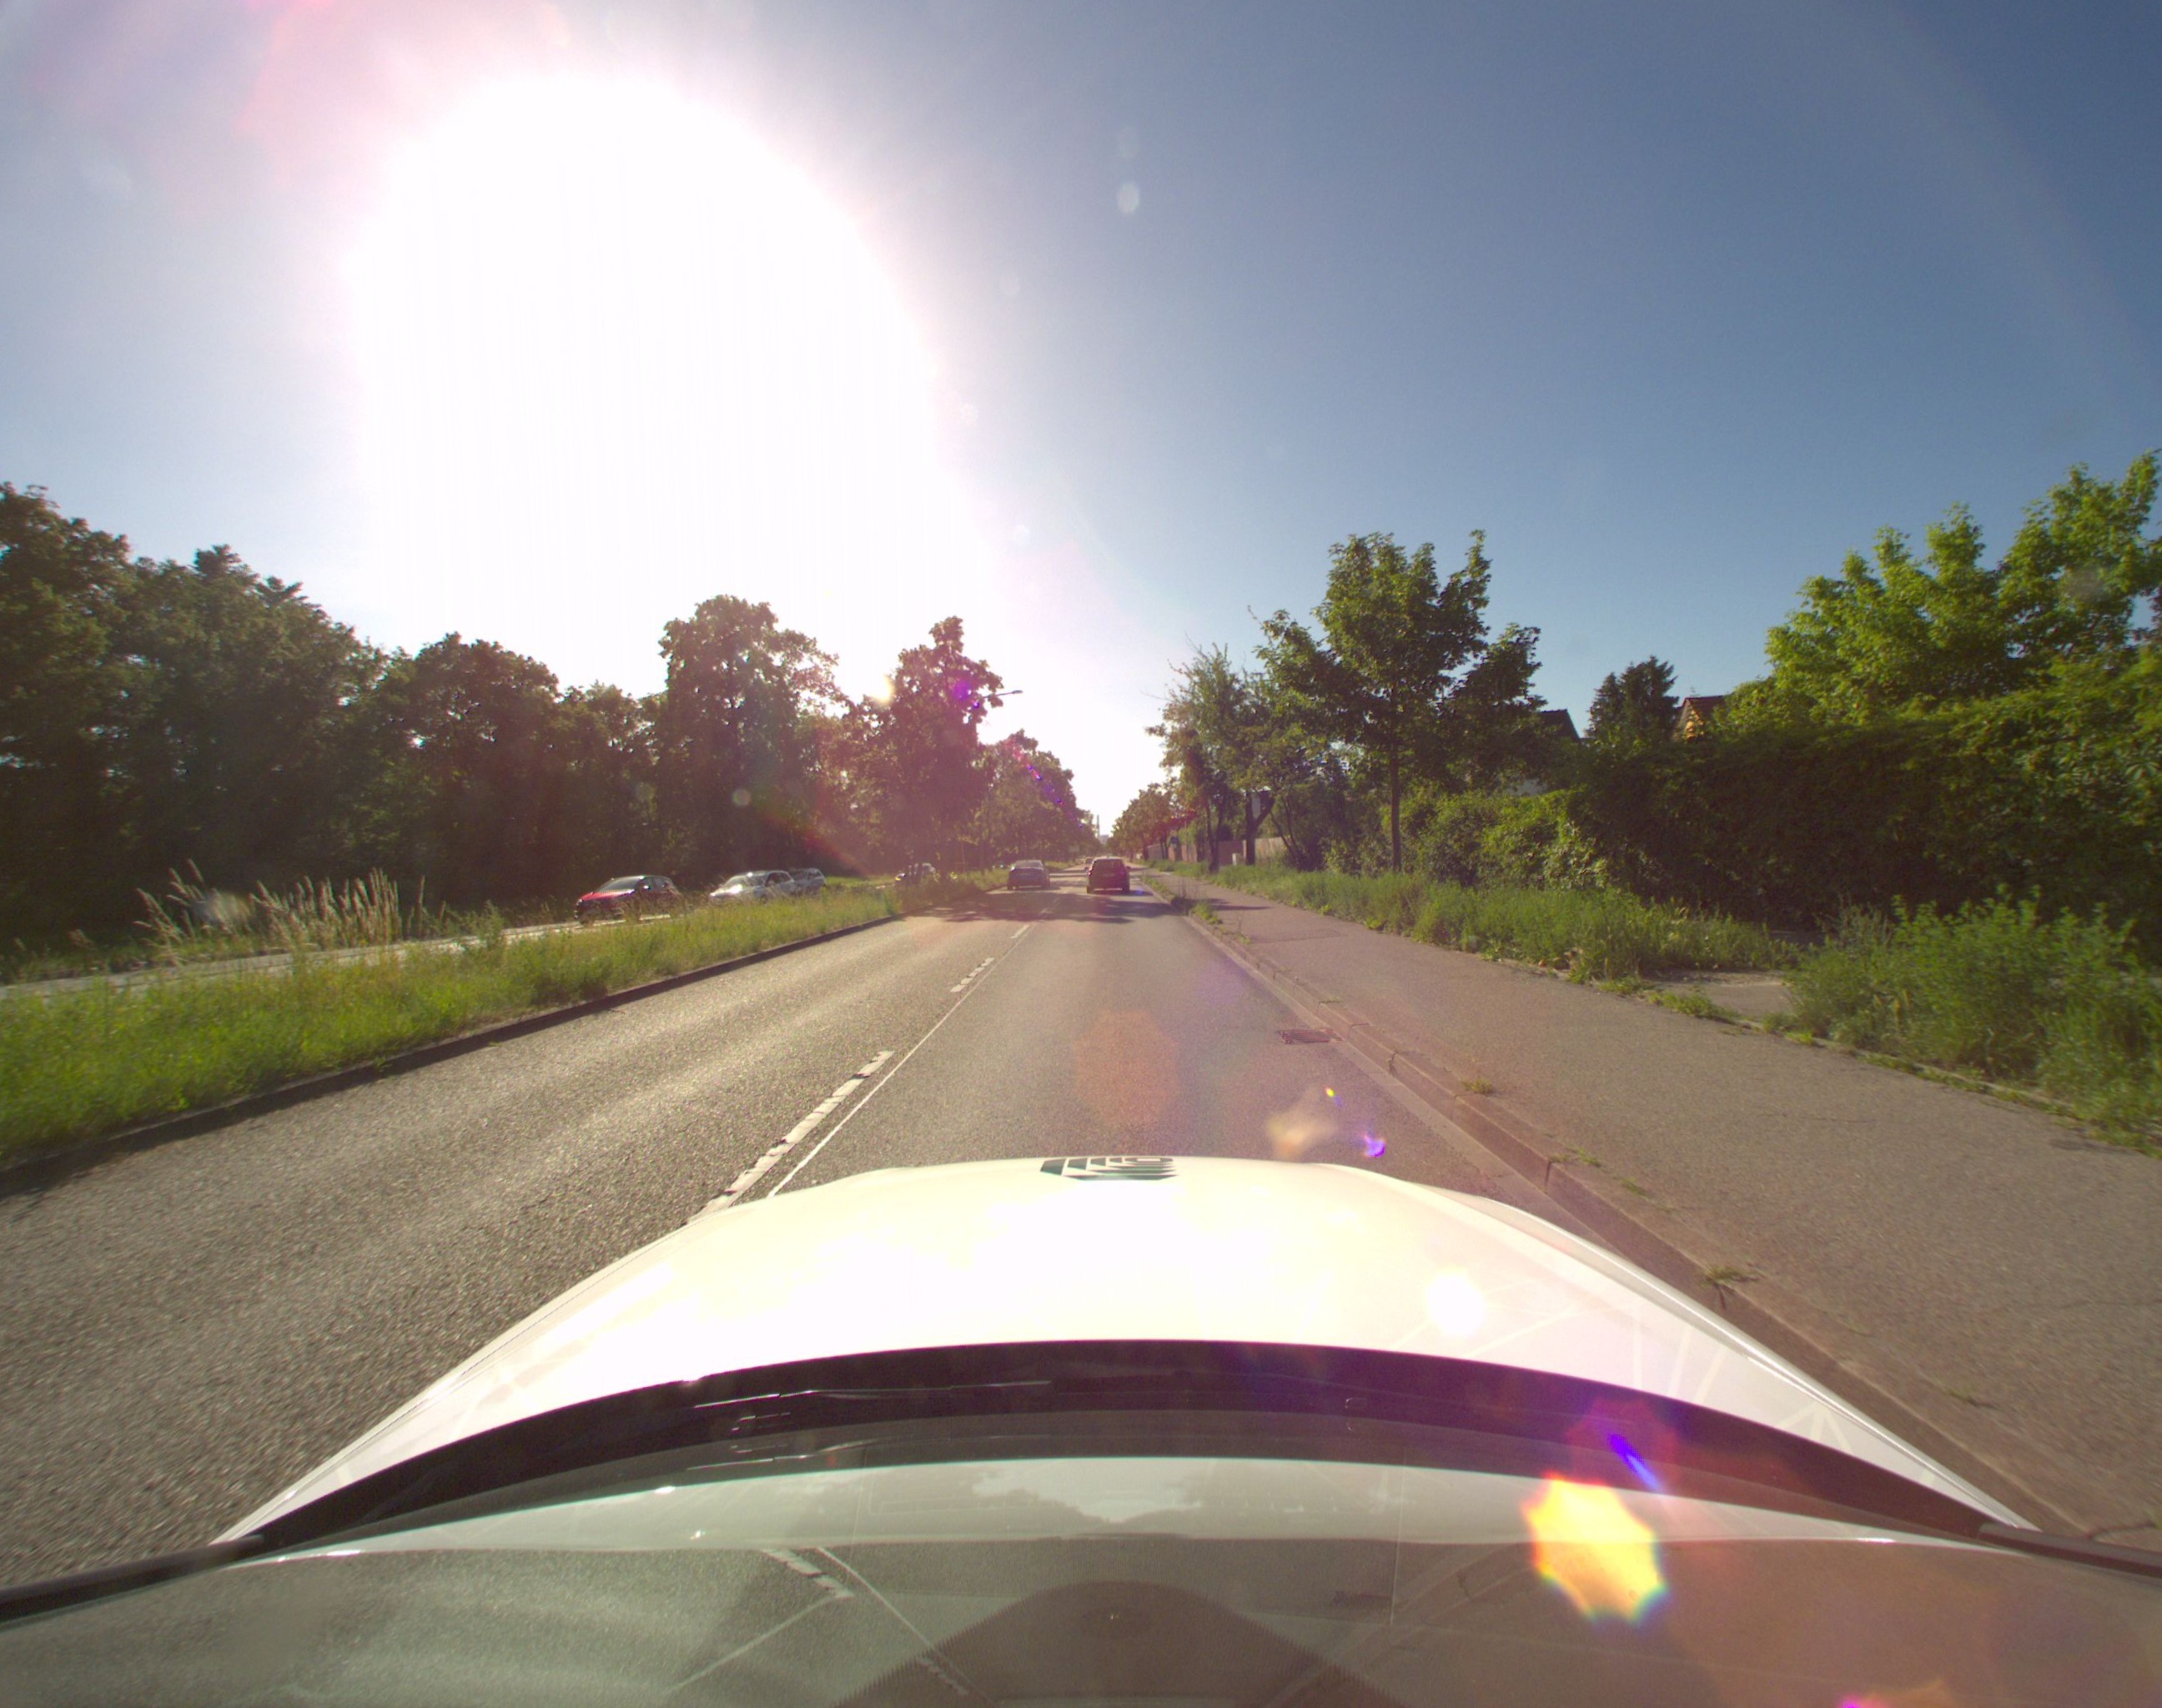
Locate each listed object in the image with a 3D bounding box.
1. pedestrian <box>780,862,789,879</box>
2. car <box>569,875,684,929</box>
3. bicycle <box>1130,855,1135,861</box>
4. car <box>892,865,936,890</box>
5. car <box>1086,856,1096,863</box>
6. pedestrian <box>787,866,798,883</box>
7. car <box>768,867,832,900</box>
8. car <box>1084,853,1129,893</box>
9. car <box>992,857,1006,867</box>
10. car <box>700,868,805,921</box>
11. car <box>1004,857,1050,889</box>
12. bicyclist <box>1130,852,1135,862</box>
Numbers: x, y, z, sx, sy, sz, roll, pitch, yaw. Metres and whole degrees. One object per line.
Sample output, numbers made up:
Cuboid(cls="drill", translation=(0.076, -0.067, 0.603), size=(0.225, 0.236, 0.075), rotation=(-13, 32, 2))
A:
Cuboid(cls="pedestrian", translation=(-25.975, 1.430, 71.353), size=(0.542, 1.460, 0.596), rotation=(-1, -1, 1))
Cuboid(cls="car", translation=(-15.327, 1.562, 27.737), size=(1.598, 1.563, 4.000), rotation=(-2, 0, 0))
Cuboid(cls="bicycle", translation=(8.056, 0.568, 126.905), size=(0.653, 0.892, 1.875), rotation=(-2, 0, 2))
Cuboid(cls="car", translation=(-10.599, 1.452, 51.928), size=(1.695, 1.395, 4.252), rotation=(-2, 0, 2))
Cuboid(cls="car", translation=(2.069, 1.179, 174.279), size=(1.973, 1.440, 3.997), rotation=(-2, 1, -2))
Cuboid(cls="pedestrian", translation=(-25.244, 1.805, 71.193), size=(0.542, 1.460, 0.917), rotation=(-2, 0, 1))
Cuboid(cls="car", translation=(-14.577, 1.496, 42.407), size=(1.706, 1.472, 4.066), rotation=(-2, 0, 3))
Cuboid(cls="car", translation=(1.110, 0.742, 34.004), size=(1.753, 1.559, 4.003), rotation=(-1, 0, 3))
Cuboid(cls="car", translation=(-12.555, 1.207, 124.783), size=(1.708, 1.505, 3.018), rotation=(-2, 0, 2))
Cuboid(cls="car", translation=(-11.476, 1.368, 28.791), size=(1.706, 1.602, 4.362), rotation=(-2, 0, 3))
Cuboid(cls="car", translation=(-2.615, 0.901, 39.992), size=(1.989, 1.405, 3.998), rotation=(-2, 0, -1))
Cuboid(cls="bicyclist", translation=(8.054, 0.469, 126.893), size=(0.678, 1.418, 0.812), rotation=(-2, 0, 1))
